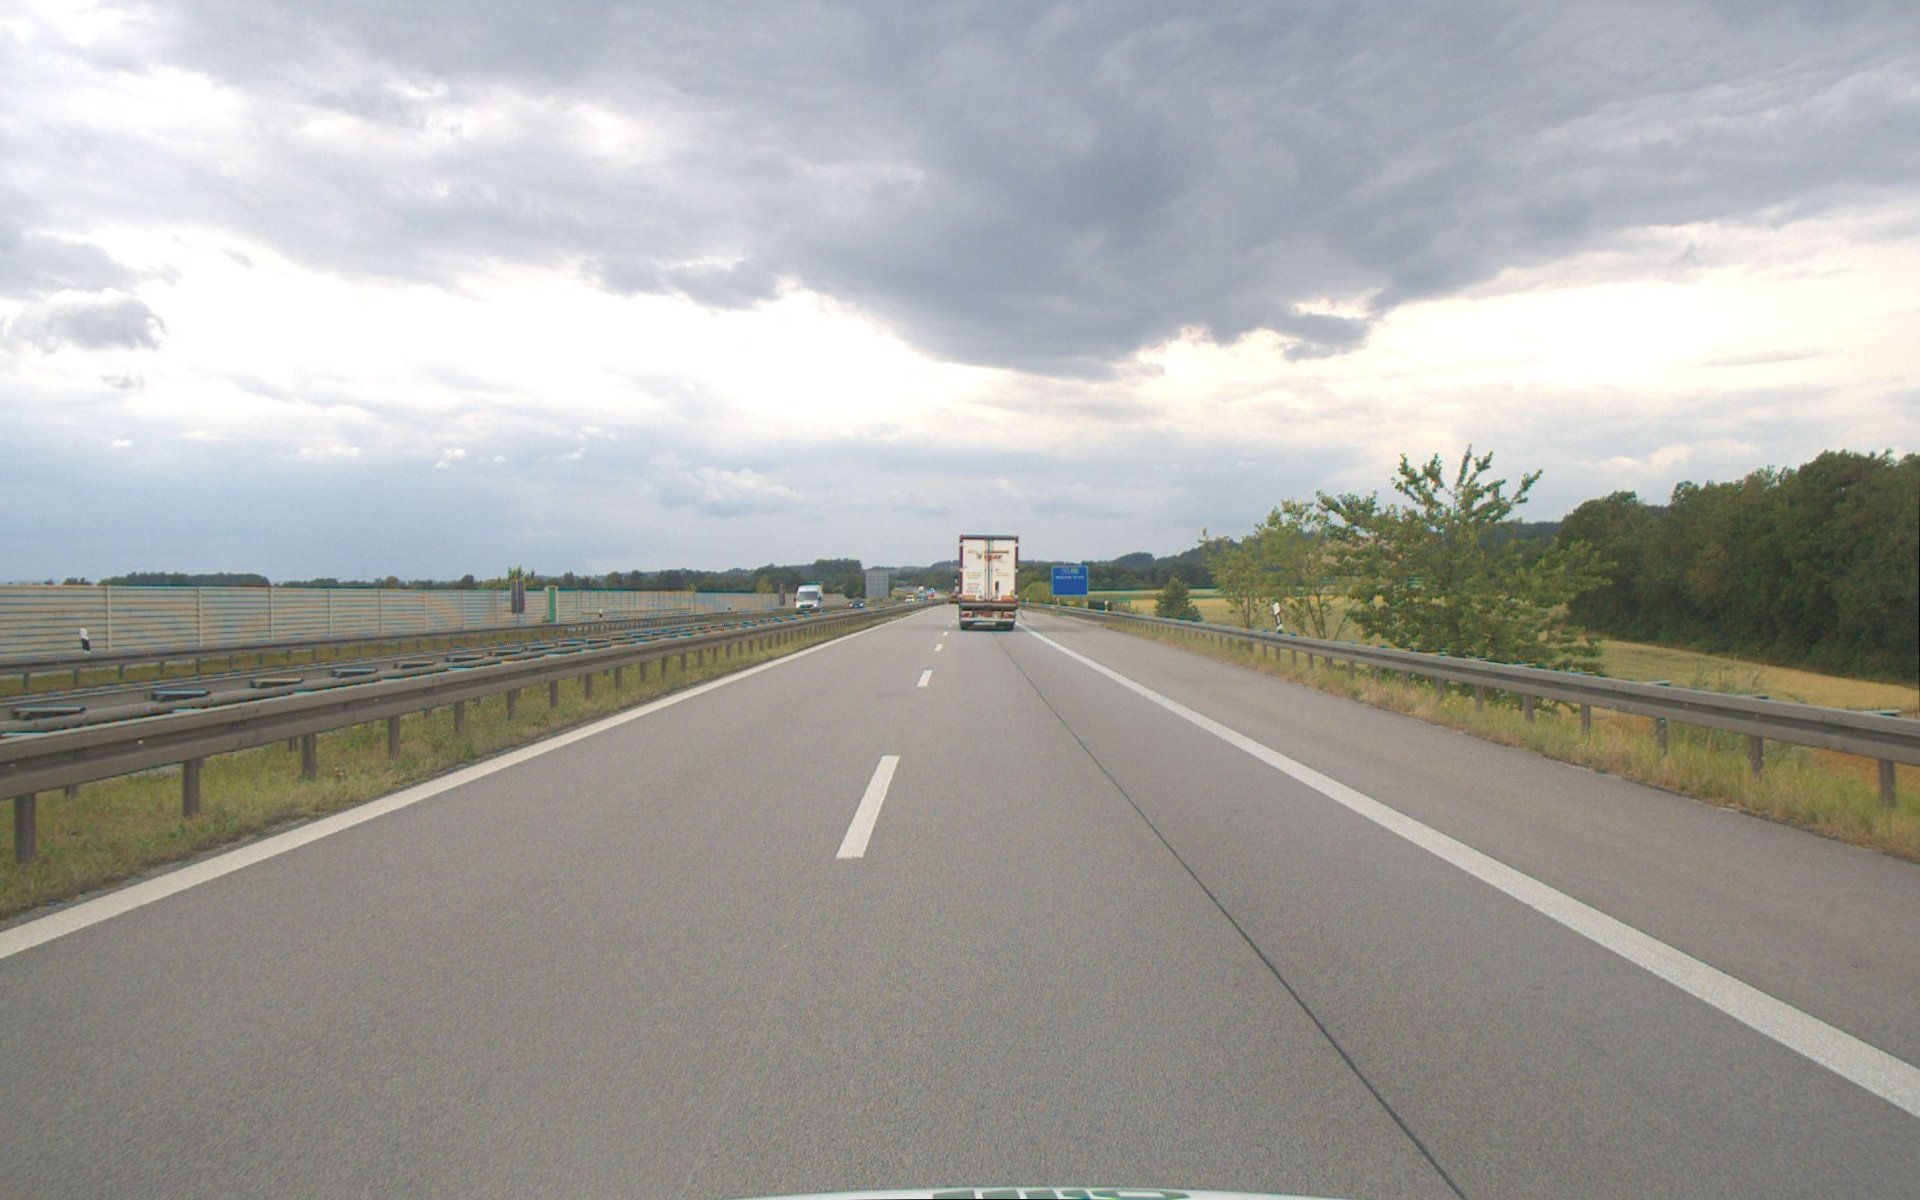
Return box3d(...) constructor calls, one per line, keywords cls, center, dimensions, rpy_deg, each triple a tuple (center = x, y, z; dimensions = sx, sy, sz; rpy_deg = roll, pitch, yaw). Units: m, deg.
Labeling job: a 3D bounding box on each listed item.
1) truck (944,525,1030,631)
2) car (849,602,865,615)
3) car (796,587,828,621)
box3d(cls="truck", center=(1.056, -0.948, 78.663), dimensions=(3.597, 4.489, 16.338), rpy_deg=(0, 0, -1))
box3d(cls="car", center=(-12.230, 1.018, 195.989), dimensions=(1.636, 1.410, 4.000), rpy_deg=(-2, 0, 0))
box3d(cls="car", center=(-12.394, 0.375, 138.952), dimensions=(2.028, 2.648, 6.288), rpy_deg=(-3, 0, 0))
